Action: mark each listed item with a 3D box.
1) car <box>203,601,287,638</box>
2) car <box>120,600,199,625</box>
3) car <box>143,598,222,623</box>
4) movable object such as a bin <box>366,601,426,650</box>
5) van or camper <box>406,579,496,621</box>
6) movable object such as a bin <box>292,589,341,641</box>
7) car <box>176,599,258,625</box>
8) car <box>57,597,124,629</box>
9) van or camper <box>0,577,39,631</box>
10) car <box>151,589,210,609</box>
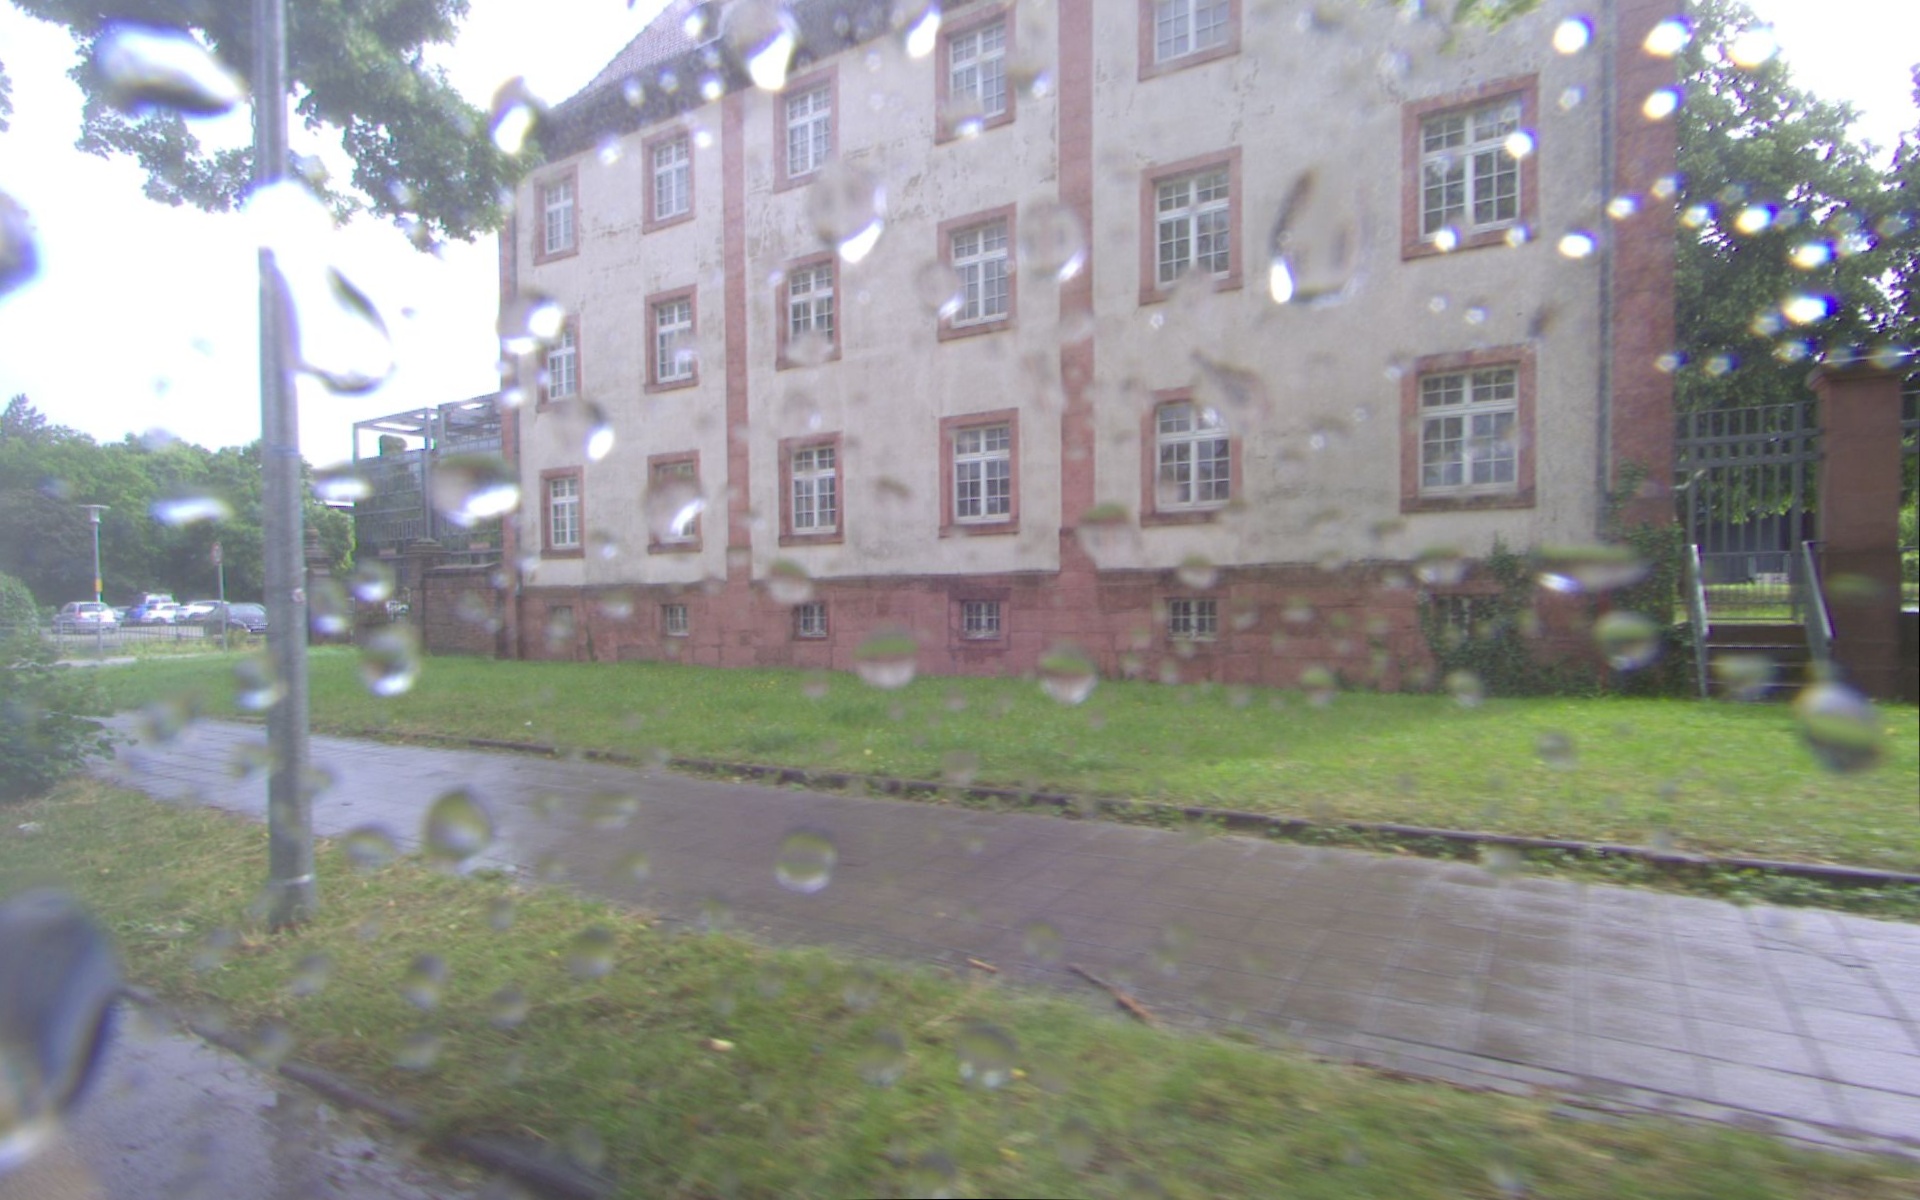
[{"bbox_3d":[-31.711,0.831,44.371,4.366,1.547,1.822,0,1,37],"label":"car"},{"bbox_3d":[-51.674,0.758,64.671,1.617,1.506,3.654,0,1,35],"label":"car"},{"bbox_3d":[-49.400,0.628,63.697,1.617,1.506,3.654,0,1,35],"label":"car"},{"bbox_3d":[-17.616,0.778,31.298,1.371,1.477,1.103,0,2,33],"label":"movable object such as a bin"},{"bbox_3d":[-33.212,0.057,65.461,2.225,2.518,4.779,-1,-2,32],"label":"van or camper"},{"bbox_3d":[-18.737,0.425,29.167,1.081,1.477,0.797,0,3,34],"label":"movable object such as a bin"},{"bbox_3d":[-45.109,0.707,60.828,1.617,1.506,3.654,0,1,35],"label":"car"},{"bbox_3d":[-42.315,0.615,48.722,3.668,1.506,1.643,0,1,35],"label":"car"},{"bbox_3d":[-47.597,0.200,47.794,2.145,2.588,4.986,-1,0,33],"label":"van or camper"},{"bbox_3d":[-59.327,-0.082,76.264,1.489,1.416,3.214,0,1,35],"label":"car"}]
